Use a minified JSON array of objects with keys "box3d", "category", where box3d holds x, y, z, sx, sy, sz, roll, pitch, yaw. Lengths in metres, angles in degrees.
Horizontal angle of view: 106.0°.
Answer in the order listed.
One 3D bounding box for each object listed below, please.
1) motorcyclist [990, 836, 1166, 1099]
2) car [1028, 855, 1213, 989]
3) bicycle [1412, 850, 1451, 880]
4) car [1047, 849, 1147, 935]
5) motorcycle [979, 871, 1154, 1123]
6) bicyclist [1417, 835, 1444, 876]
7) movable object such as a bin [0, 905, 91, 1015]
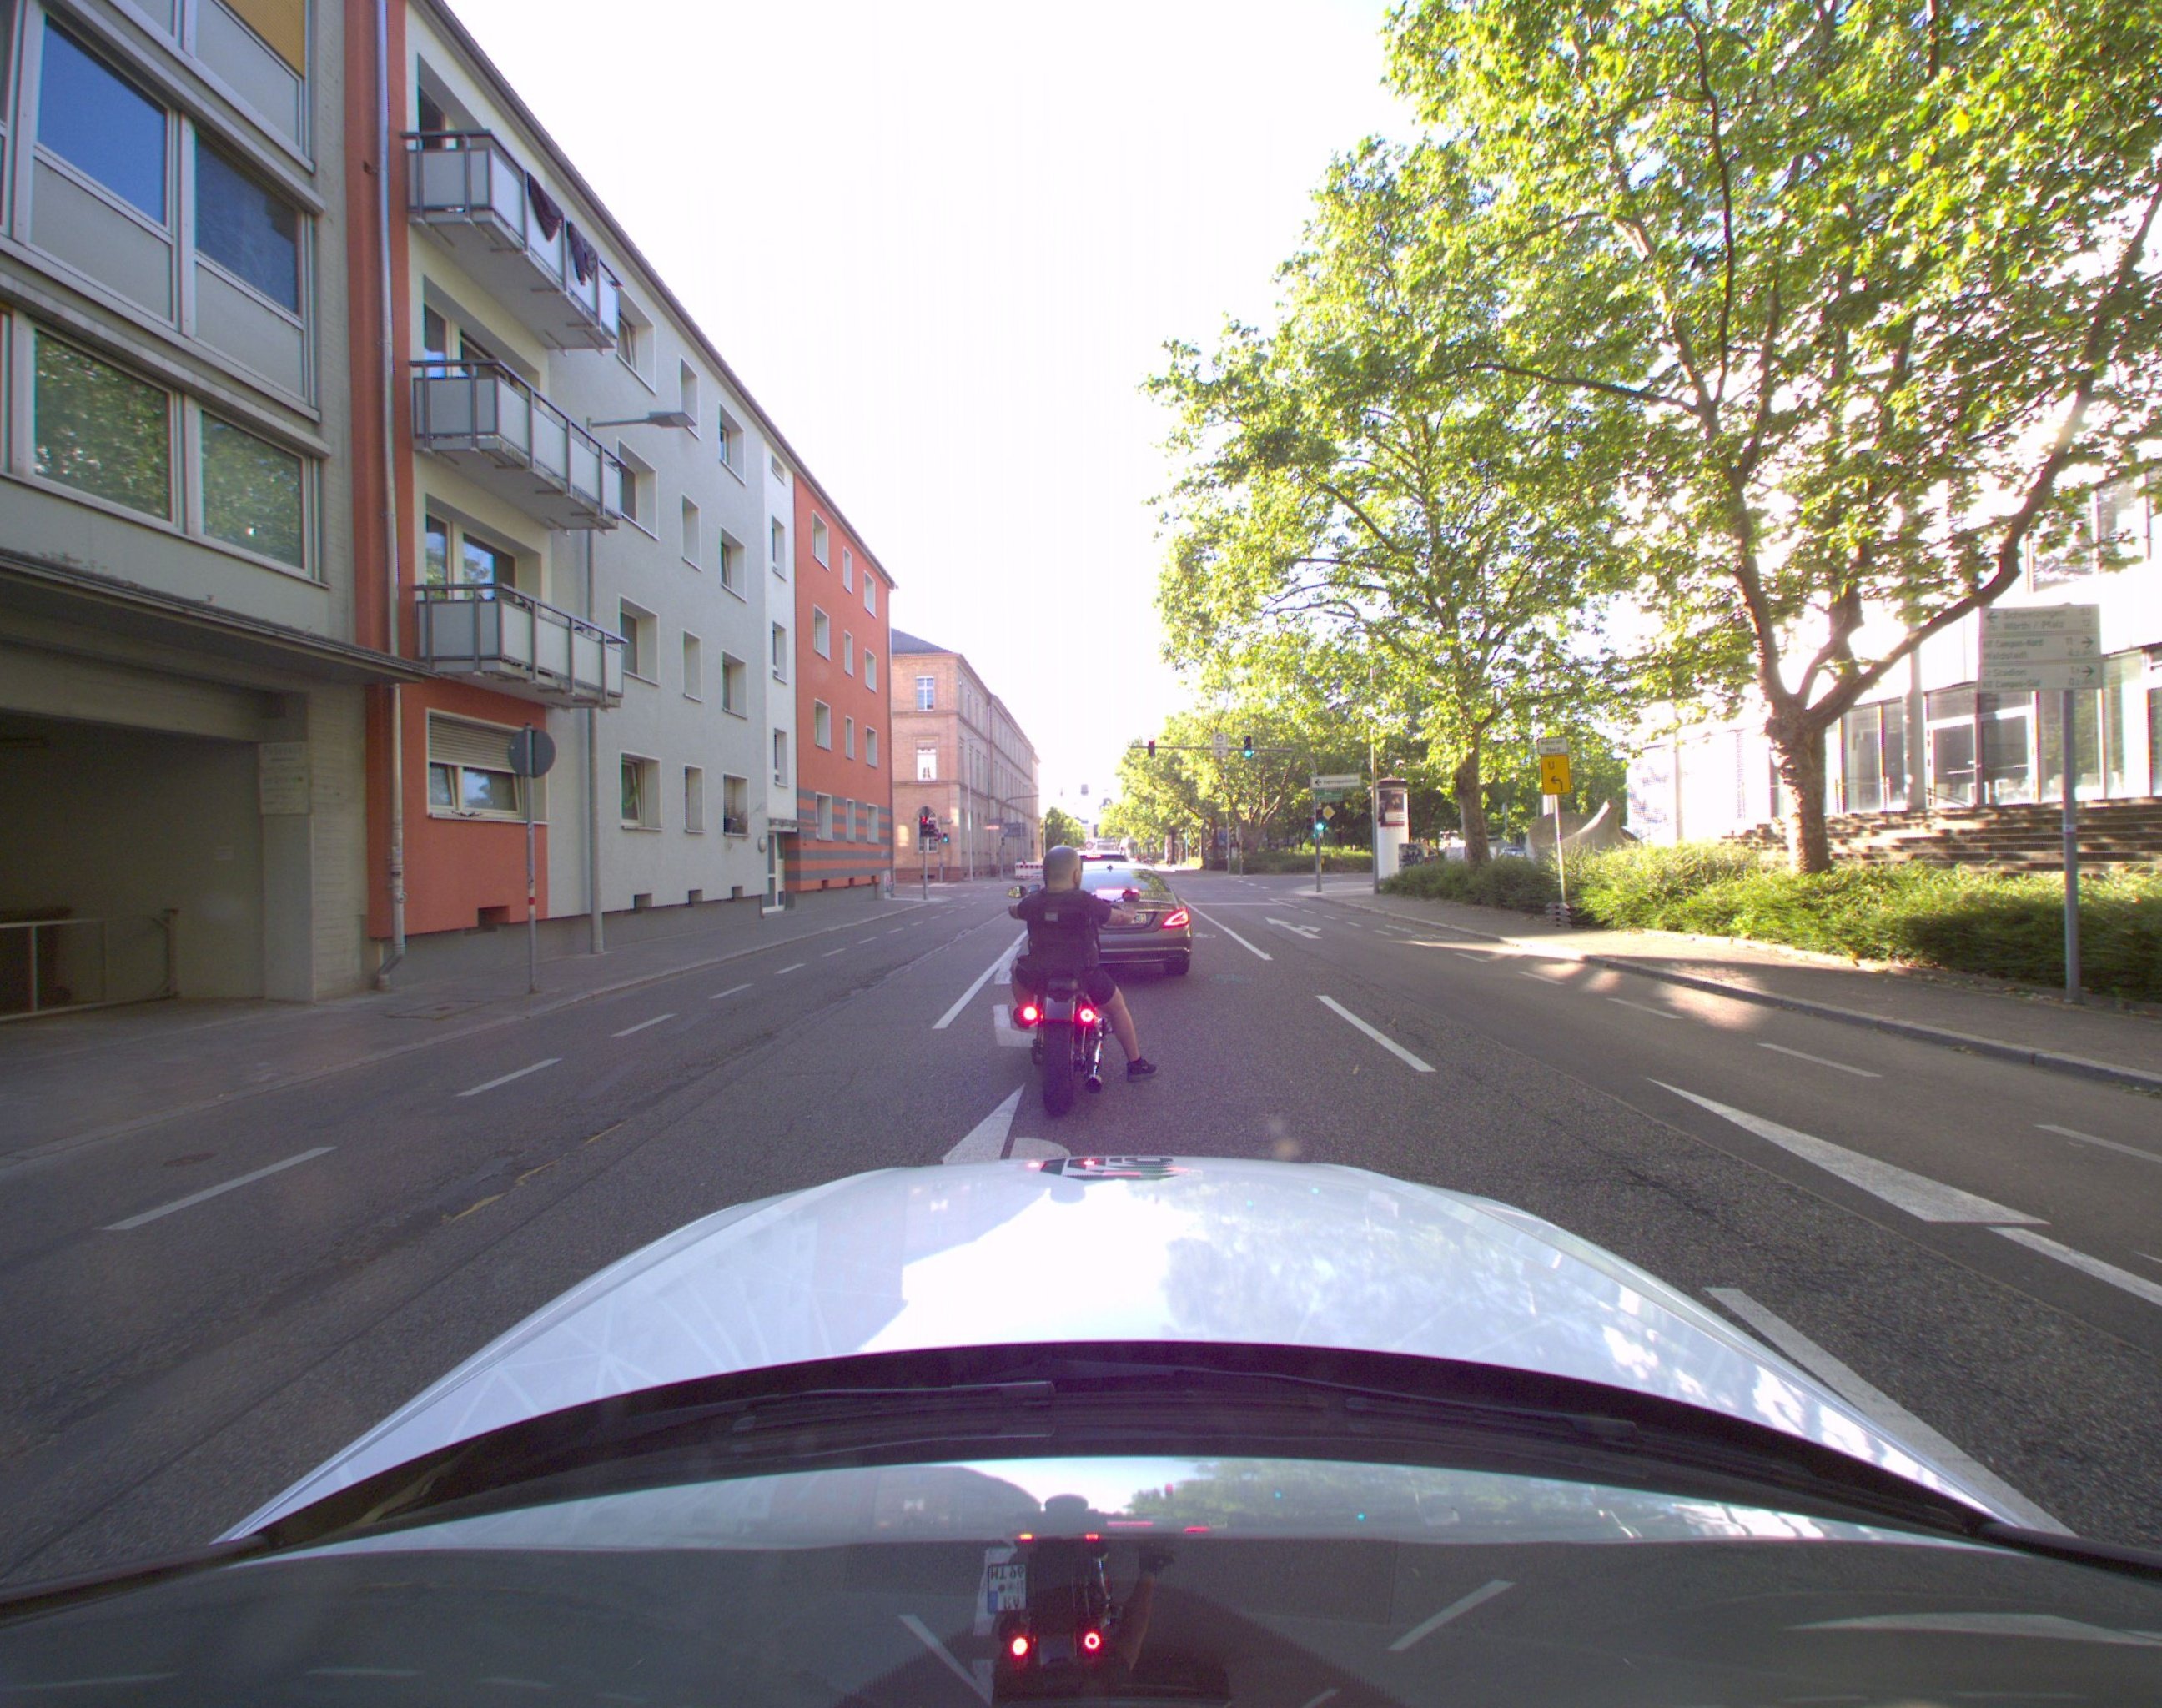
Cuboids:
[{"box3d":[-0.008,0.691,5.391,1.057,1.582,0.908,0,-1,1],"category":"motorcyclist"},{"box3d":[0.316,0.760,11.247,1.900,1.441,4.279,-1,0,-6],"category":"car"},{"box3d":[13.775,0.427,32.085,0.713,1.172,2.178,0,-1,4],"category":"bicycle"},{"box3d":[0.267,0.698,16.896,1.808,1.536,3.847,-1,0,-1],"category":"car"},{"box3d":[-0.043,0.816,5.661,0.958,1.357,2.321,0,-1,2],"category":"motorcycle"},{"box3d":[13.784,0.060,32.151,0.713,1.582,0.937,0,-1,4],"category":"bicyclist"},{"box3d":[-11.327,1.104,8.649,0.736,1.074,0.716,0,-1,2],"category":"movable object such as a bin"}]
